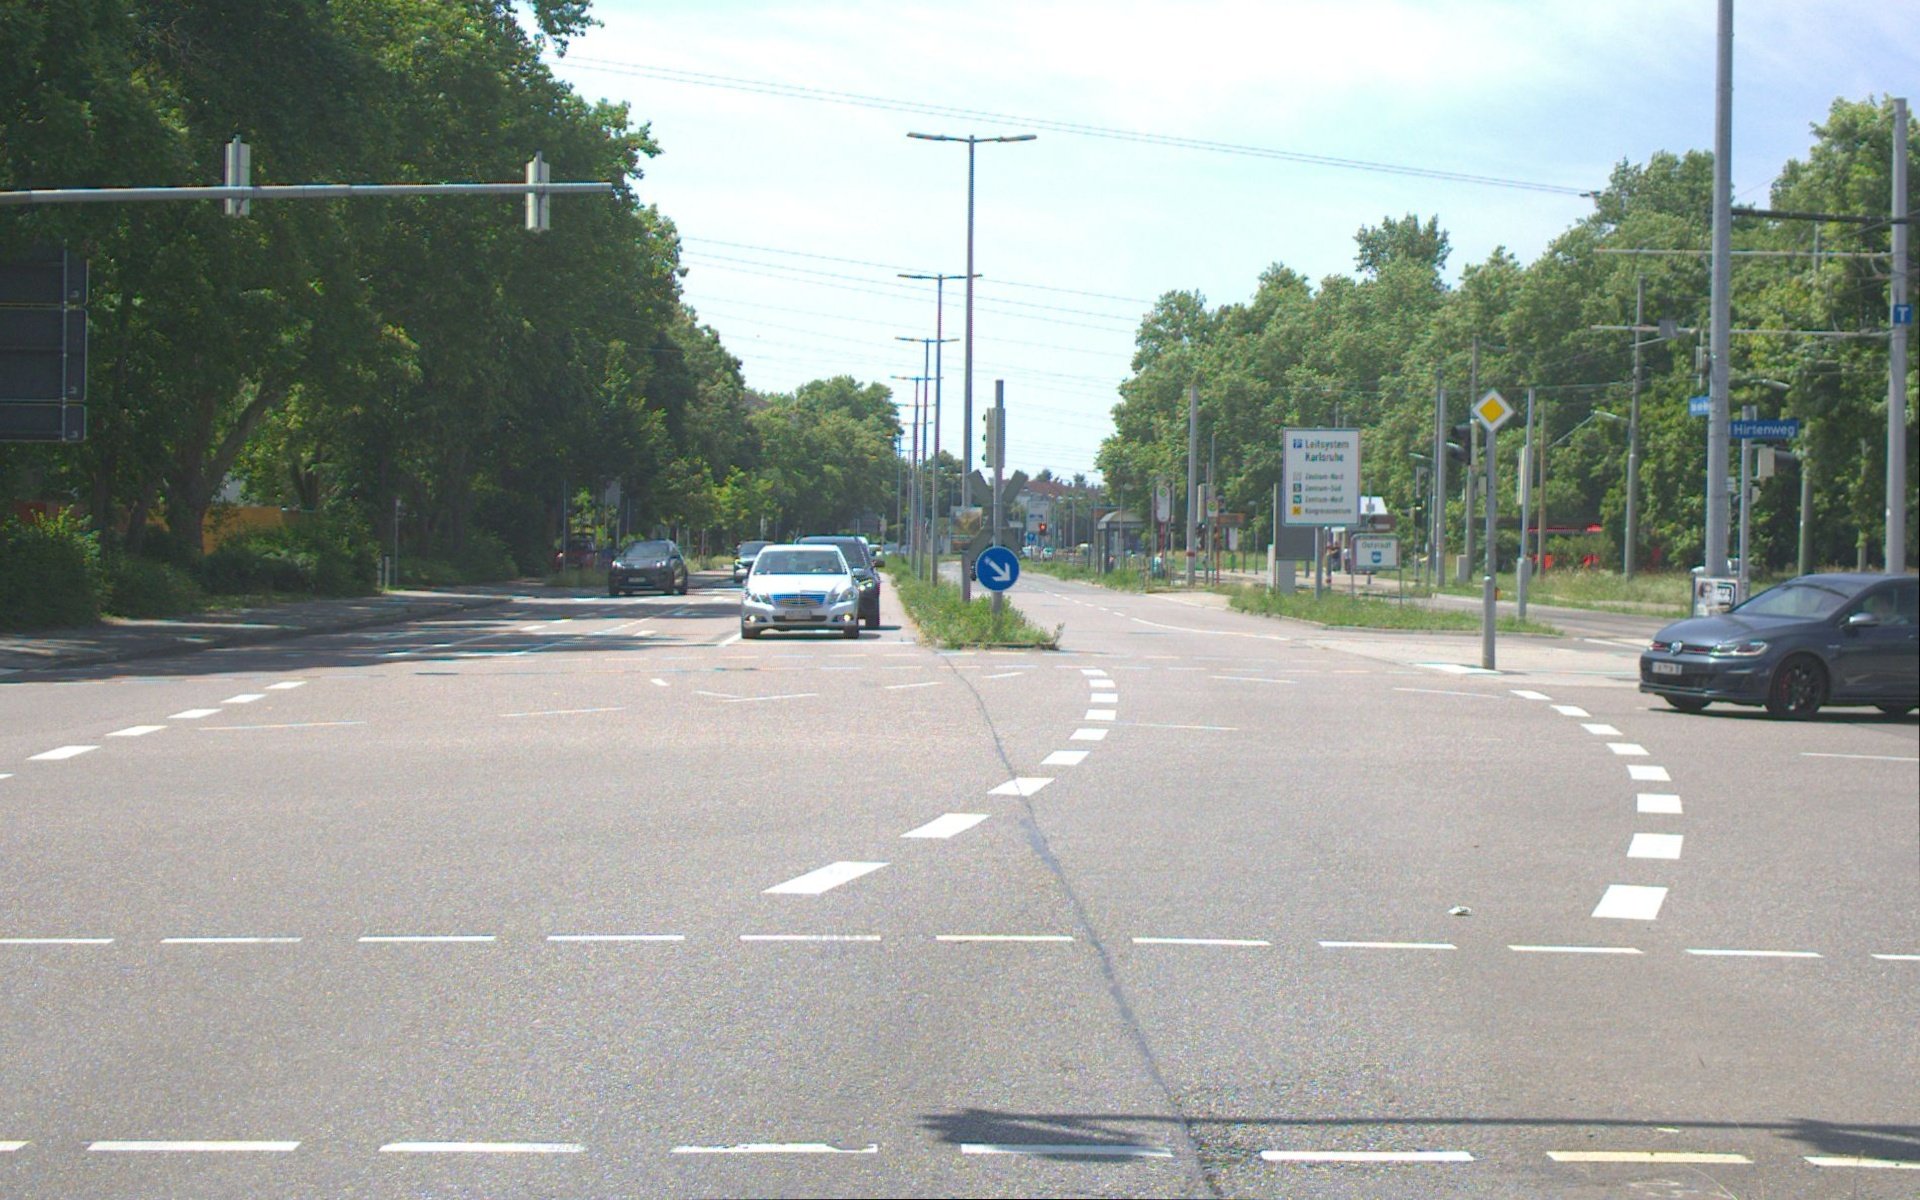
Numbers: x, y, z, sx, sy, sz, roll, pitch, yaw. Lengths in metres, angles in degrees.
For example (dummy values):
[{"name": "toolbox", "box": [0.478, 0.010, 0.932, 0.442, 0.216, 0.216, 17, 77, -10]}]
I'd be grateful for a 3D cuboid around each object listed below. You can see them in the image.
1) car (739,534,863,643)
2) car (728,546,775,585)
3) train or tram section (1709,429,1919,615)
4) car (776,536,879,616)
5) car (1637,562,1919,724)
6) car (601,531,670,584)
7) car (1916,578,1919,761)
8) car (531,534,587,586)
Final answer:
[{"name": "car", "box": [-2.470, -0.215, 54.213, 1.784, 1.623, 3.865, 1, 1, -1]}, {"name": "car", "box": [-8.239, -1.391, 136.248, 1.671, 1.485, 3.711, 1, 1, -1]}, {"name": "train or tram section", "box": [22.542, -1.611, 72.378, 13.059, 3.799, 2.917, 1, -2, 36]}, {"name": "car", "box": [-2.337, -0.446, 61.519, 1.710, 1.361, 3.865, 1, 1, -1]}, {"name": "car", "box": [8.395, 0.389, 33.094, 3.497, 1.458, 1.640, 0, 1, -32]}, {"name": "car", "box": [-9.493, -1.264, 100.749, 1.671, 1.485, 3.711, 1, 1, -1]}, {"name": "car", "box": [9.669, 0.578, 27.891, 3.794, 1.458, 1.640, 0, 1, -36]}, {"name": "car", "box": [-16.875, -1.683, 144.742, 1.993, 2.007, 4.001, 4, 0, -4]}]
